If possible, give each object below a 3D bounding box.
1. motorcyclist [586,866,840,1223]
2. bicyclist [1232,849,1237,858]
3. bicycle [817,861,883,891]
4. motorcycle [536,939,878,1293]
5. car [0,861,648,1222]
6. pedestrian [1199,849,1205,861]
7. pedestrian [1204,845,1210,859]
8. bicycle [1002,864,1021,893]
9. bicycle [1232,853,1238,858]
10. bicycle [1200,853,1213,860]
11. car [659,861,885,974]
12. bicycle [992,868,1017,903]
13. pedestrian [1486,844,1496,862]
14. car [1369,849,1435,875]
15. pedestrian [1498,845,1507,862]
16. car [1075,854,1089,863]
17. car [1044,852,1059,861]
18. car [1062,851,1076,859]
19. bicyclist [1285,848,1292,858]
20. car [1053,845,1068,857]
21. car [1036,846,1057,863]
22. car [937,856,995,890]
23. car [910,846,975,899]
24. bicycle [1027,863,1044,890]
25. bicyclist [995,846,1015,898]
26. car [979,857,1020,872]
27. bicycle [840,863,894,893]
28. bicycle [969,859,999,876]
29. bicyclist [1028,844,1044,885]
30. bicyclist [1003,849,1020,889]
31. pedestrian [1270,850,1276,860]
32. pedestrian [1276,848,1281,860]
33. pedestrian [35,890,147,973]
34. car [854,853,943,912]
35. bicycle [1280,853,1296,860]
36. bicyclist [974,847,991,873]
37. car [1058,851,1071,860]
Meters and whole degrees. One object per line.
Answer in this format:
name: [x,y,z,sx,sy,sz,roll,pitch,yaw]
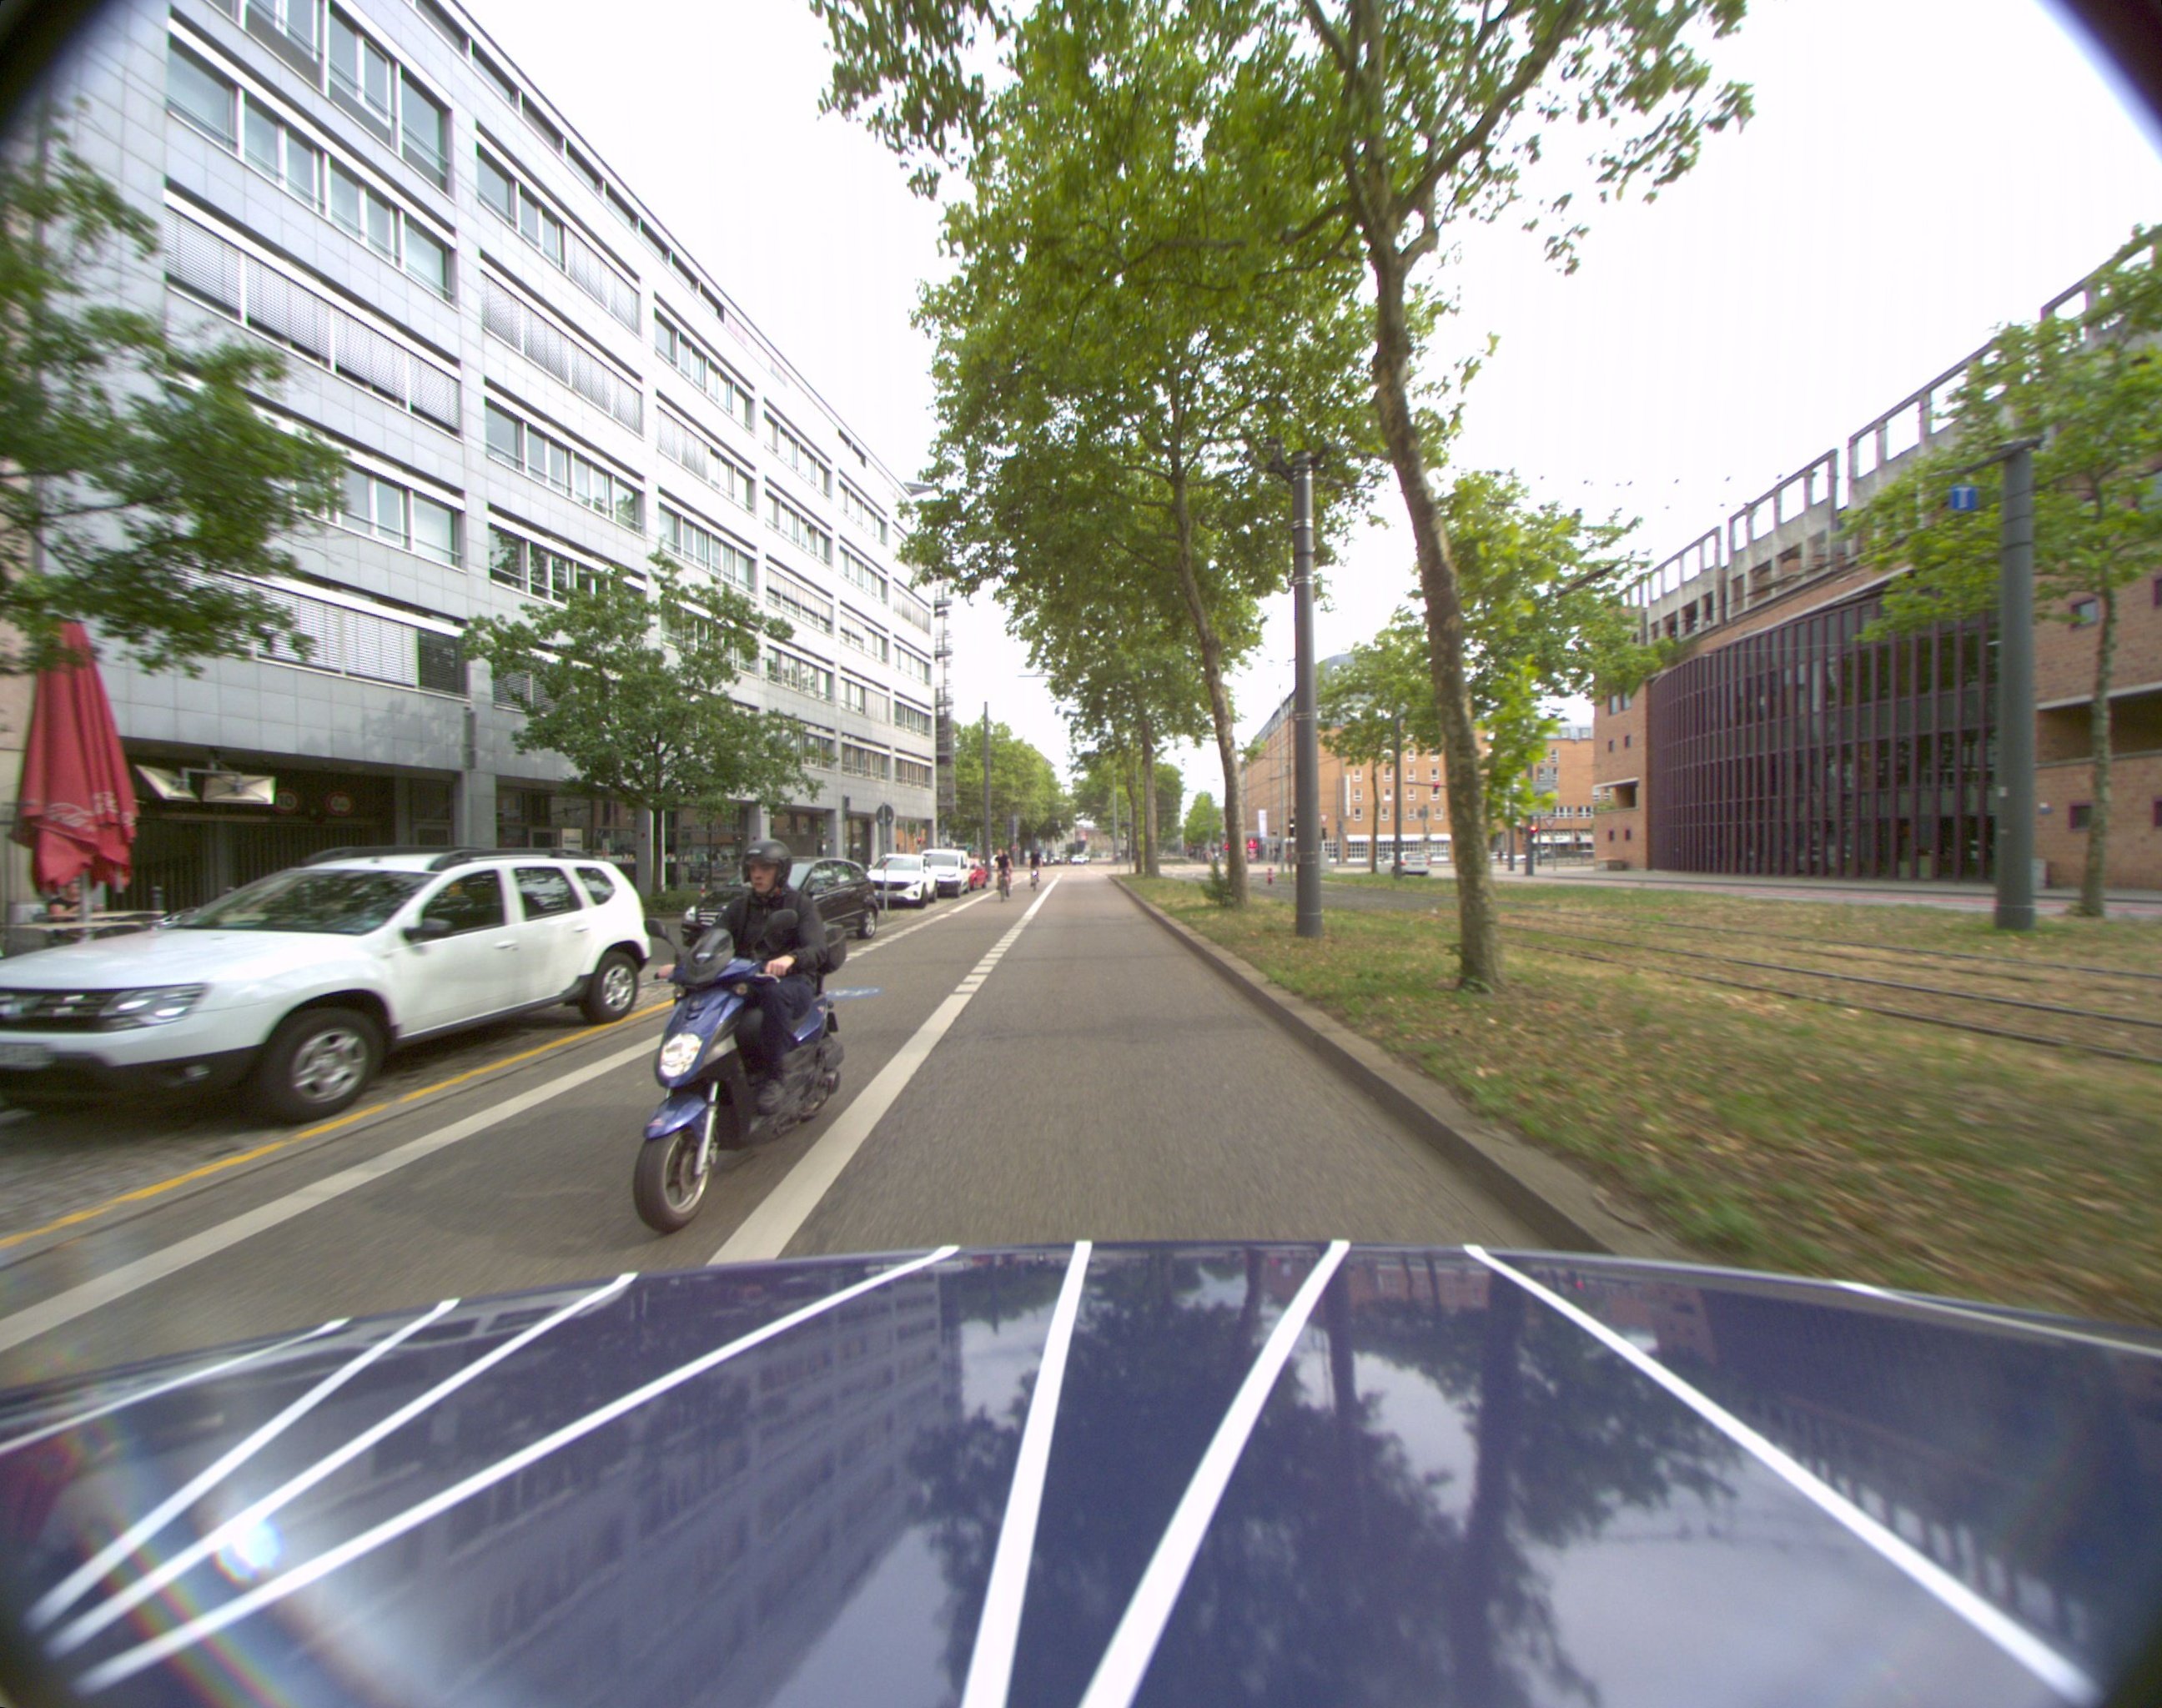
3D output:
motorcyclist: [-1.745,0.832,3.792,0.761,1.510,1.017,-1,1,-2]
bicyclist: [27.409,-0.083,135.403,0.651,1.493,0.817,-1,1,-4]
bicycle: [-9.949,0.941,32.792,2.639,1.251,0.655,-1,0,1]
motorcycle: [-1.748,1.146,4.069,0.769,1.101,2.207,-1,1,-2]
car: [-5.452,0.899,5.685,1.865,1.643,4.164,0,0,3]
pedestrian: [17.348,0.128,108.956,0.684,1.696,0.534,-1,1,-8]
pedestrian: [17.674,-0.309,106.537,0.693,1.941,0.534,-1,1,-2]
bicycle: [-2.898,1.018,31.764,0.595,1.132,1.734,0,0,1]
bicycle: [27.416,0.298,135.430,0.659,0.931,1.892,-1,1,-4]
bicycle: [17.654,0.339,106.828,1.711,0.884,0.499,0,1,3]
car: [-5.116,0.943,13.320,1.778,1.567,4.307,1,0,7]
bicycle: [-2.612,1.058,26.152,0.595,1.132,2.091,0,0,1]
pedestrian: [40.512,-0.075,75.055,0.578,1.722,0.751,-1,1,-1]
car: [18.272,0.440,43.496,1.788,1.413,4.657,-1,0,-1]
pedestrian: [42.081,-0.073,75.833,0.540,1.722,0.543,-1,1,-2]
car: [0.187,0.672,119.870,1.845,1.369,3.835,-1,-1,5]
car: [-4.660,0.360,120.014,1.756,1.410,4.275,0,1,6]
car: [-2.134,0.201,140.158,1.997,1.270,4.002,0,1,8]
bicyclist: [28.700,-0.143,105.227,0.864,1.493,0.637,0,1,12]
car: [-3.396,-0.494,126.839,1.998,2.002,5.438,0,0,5]
car: [-5.032,0.057,112.214,2.174,2.441,6.998,-1,0,4]
car: [-5.255,0.836,35.204,1.726,1.424,4.254,2,0,4]
car: [-5.289,0.654,29.559,1.832,1.853,4.647,1,0,-2]
bicycle: [-1.943,0.951,32.789,0.595,1.132,1.858,0,0,1]
bicyclist: [-2.614,0.605,26.212,0.591,1.758,1.035,0,1,1]
car: [-10.242,1.282,95.224,4.645,1.651,1.961,-3,0,-28]
bicycle: [-8.667,0.974,30.764,2.059,1.190,0.480,0,1,8]
bicycle: [-6.571,0.905,51.673,1.901,1.132,0.727,0,0,18]
bicyclist: [-1.945,0.436,32.875,0.591,1.760,1.035,0,1,1]
bicyclist: [-2.894,0.605,31.744,0.591,1.644,1.035,0,0,1]
pedestrian: [28.909,0.156,114.327,0.536,1.498,0.648,-1,2,-34]
pedestrian: [27.690,0.033,106.474,0.563,1.696,0.535,0,1,1]
pedestrian: [-14.510,1.114,11.152,0.822,1.150,0.700,-1,0,12]
car: [-5.600,0.815,23.865,2.000,1.593,4.581,2,0,-5]
bicycle: [28.709,0.337,105.235,2.057,1.002,0.640,0,1,12]
bicyclist: [-6.732,0.411,51.714,0.914,1.754,0.720,0,1,18]
car: [-2.898,0.236,133.347,1.915,1.533,4.094,0,0,5]
